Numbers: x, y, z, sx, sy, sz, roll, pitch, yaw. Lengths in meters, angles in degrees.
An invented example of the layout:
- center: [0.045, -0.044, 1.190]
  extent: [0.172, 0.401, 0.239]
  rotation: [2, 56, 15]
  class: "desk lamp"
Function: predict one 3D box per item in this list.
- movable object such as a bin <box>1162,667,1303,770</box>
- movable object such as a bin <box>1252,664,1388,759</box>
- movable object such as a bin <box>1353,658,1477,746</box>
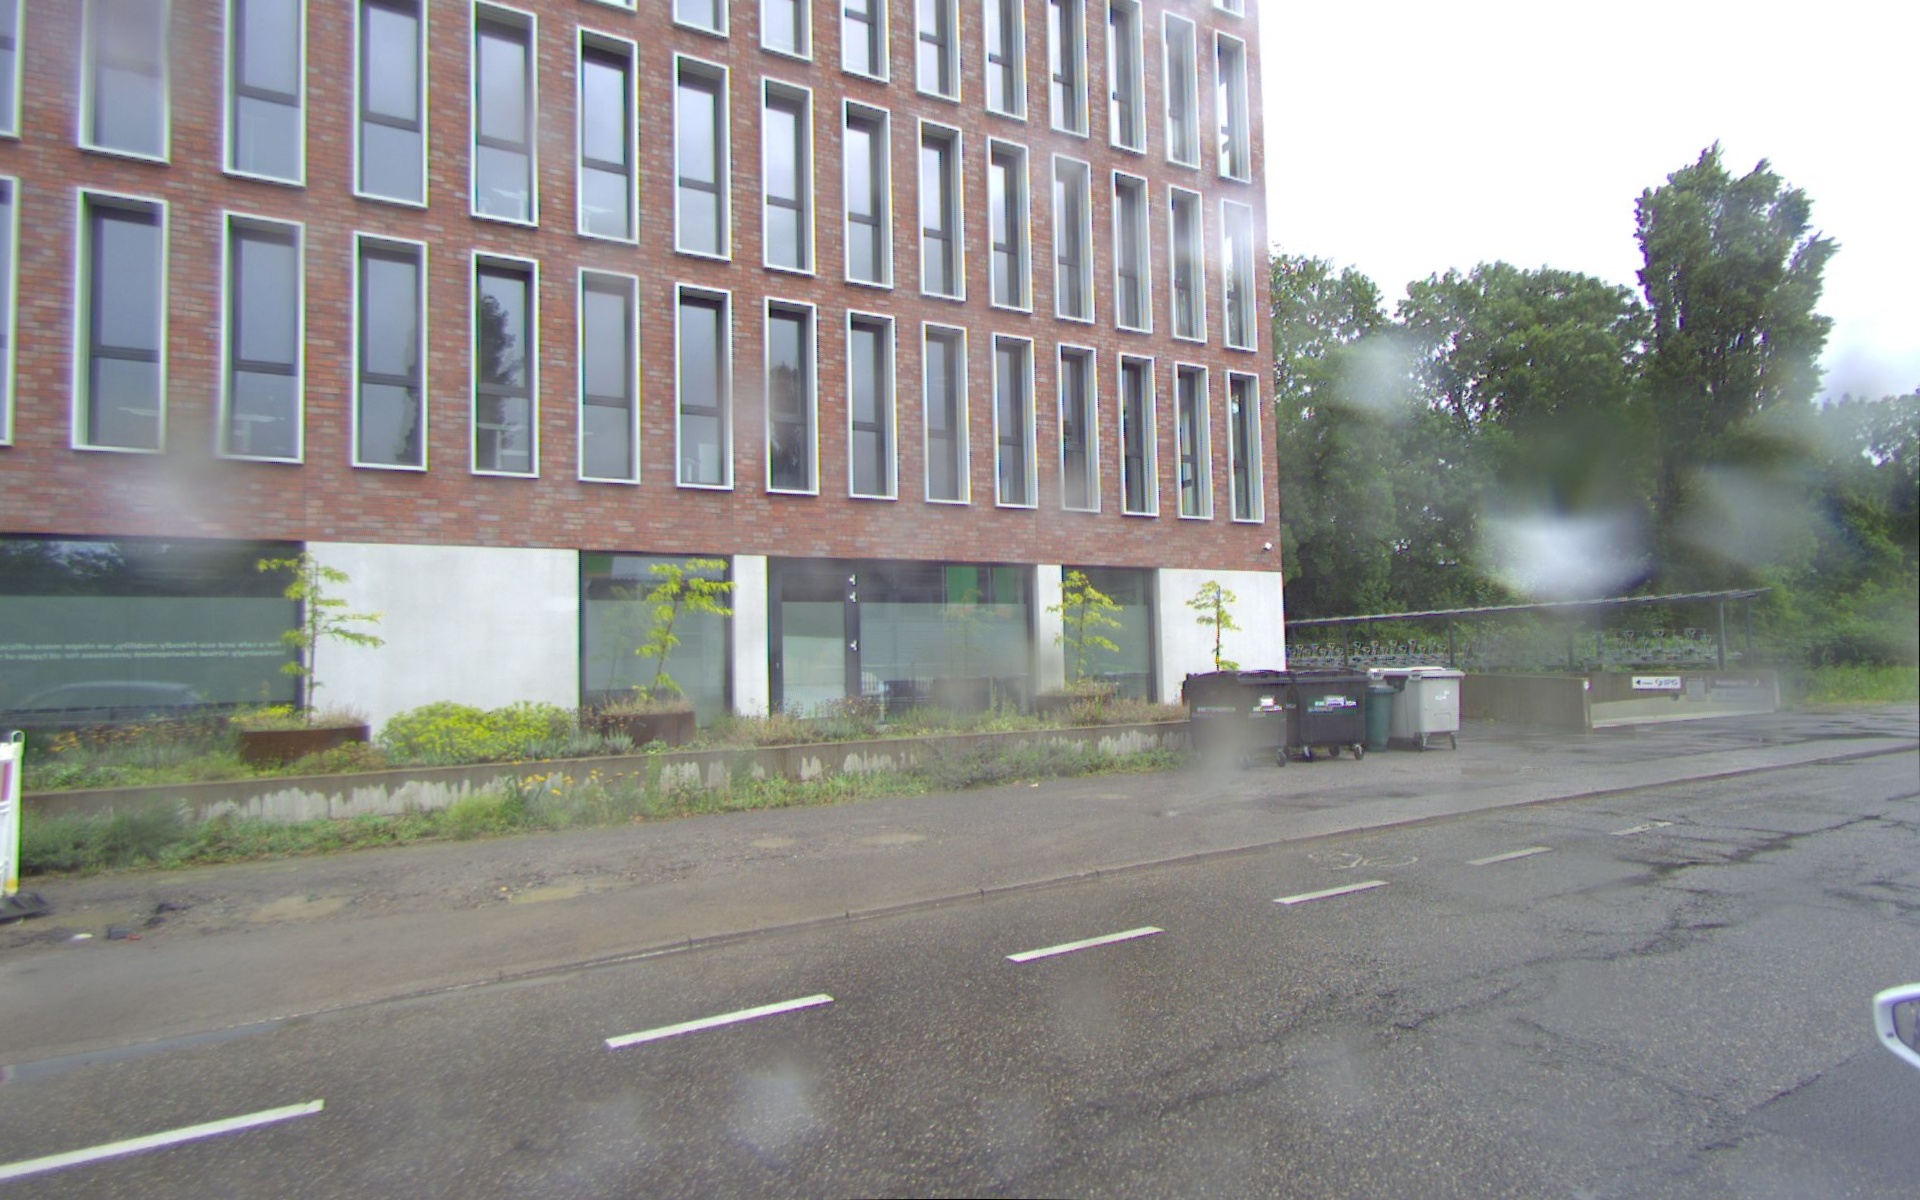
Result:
- center: [3.844, 1.631, 14.207]
  extent: [1.435, 1.325, 1.287]
  rotation: [2, -5, -37]
  class: "movable object such as a bin"
- center: [5.403, 1.656, 15.195]
  extent: [1.422, 1.325, 1.377]
  rotation: [-1, -4, -9]
  class: "movable object such as a bin"
- center: [7.492, 1.653, 16.570]
  extent: [1.343, 1.349, 1.289]
  rotation: [1, -4, -32]
  class: "movable object such as a bin"
